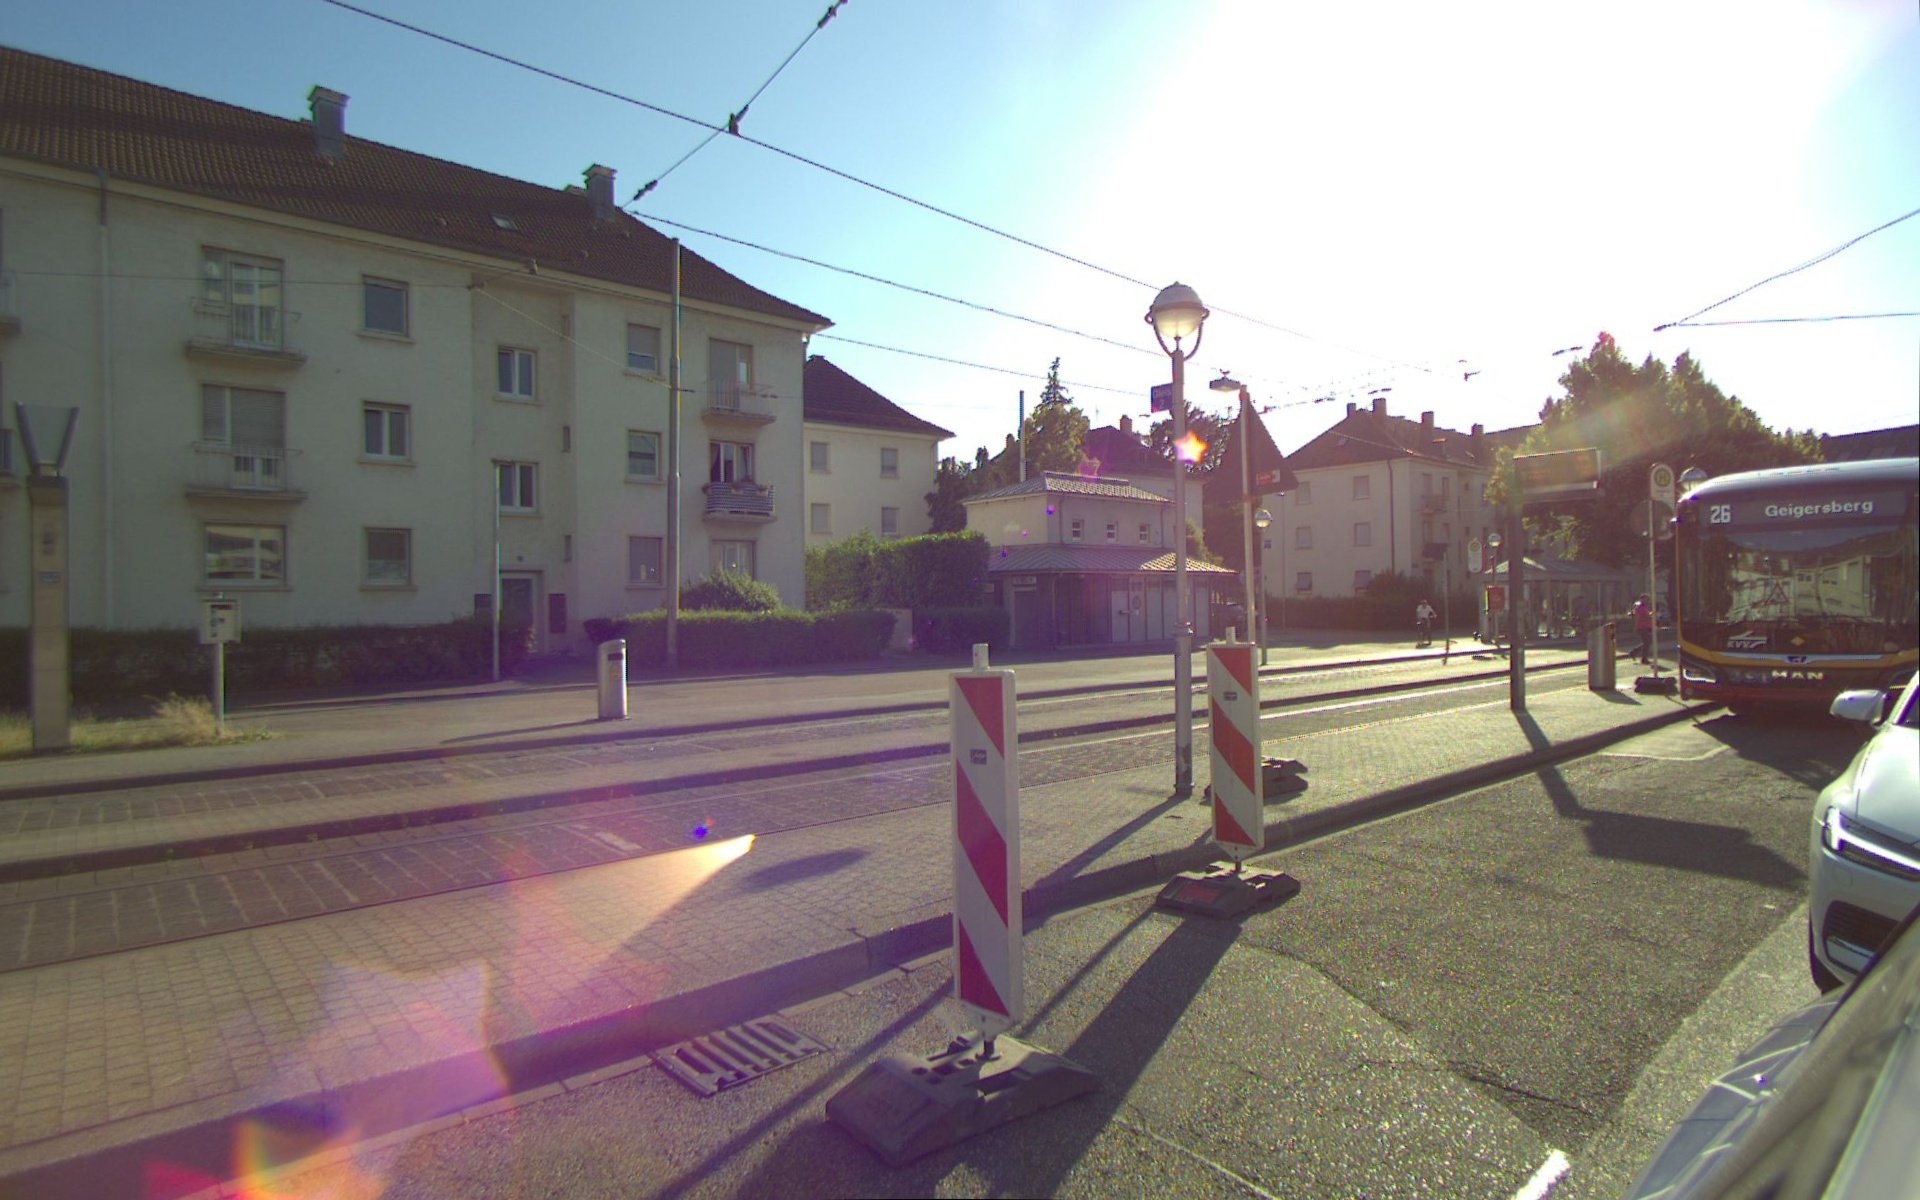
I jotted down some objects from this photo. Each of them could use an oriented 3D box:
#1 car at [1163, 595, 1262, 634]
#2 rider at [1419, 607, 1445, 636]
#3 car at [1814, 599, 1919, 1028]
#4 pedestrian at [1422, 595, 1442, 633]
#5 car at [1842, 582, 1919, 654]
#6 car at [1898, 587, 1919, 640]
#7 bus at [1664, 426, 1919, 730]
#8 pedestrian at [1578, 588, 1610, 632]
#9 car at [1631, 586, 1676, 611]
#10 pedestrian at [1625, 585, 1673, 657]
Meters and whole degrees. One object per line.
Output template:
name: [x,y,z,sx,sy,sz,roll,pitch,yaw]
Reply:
car: [11.587,0.680,46.677,1.964,1.694,4.050,-1,-1,-39]
rider: [17.736,0.791,38.043,0.572,1.004,1.849,0,0,15]
car: [5.279,0.734,4.367,4.143,1.472,1.819,0,0,-41]
pedestrian: [17.733,0.531,38.033,0.572,1.398,0.655,0,0,15]
car: [21.230,0.360,22.374,4.740,1.477,1.968,0,0,-41]
car: [28.788,0.369,29.240,4.740,1.477,1.968,0,0,-41]
bus: [14.322,-0.262,15.855,11.824,3.345,2.745,0,0,-42]
pedestrian: [24.087,0.368,38.442,0.811,1.631,0.841,0,0,-42]
car: [53.779,-0.115,78.448,3.930,1.887,1.997,-1,0,-41]
pedestrian: [17.038,0.498,25.017,0.812,1.740,0.840,0,0,-44]
